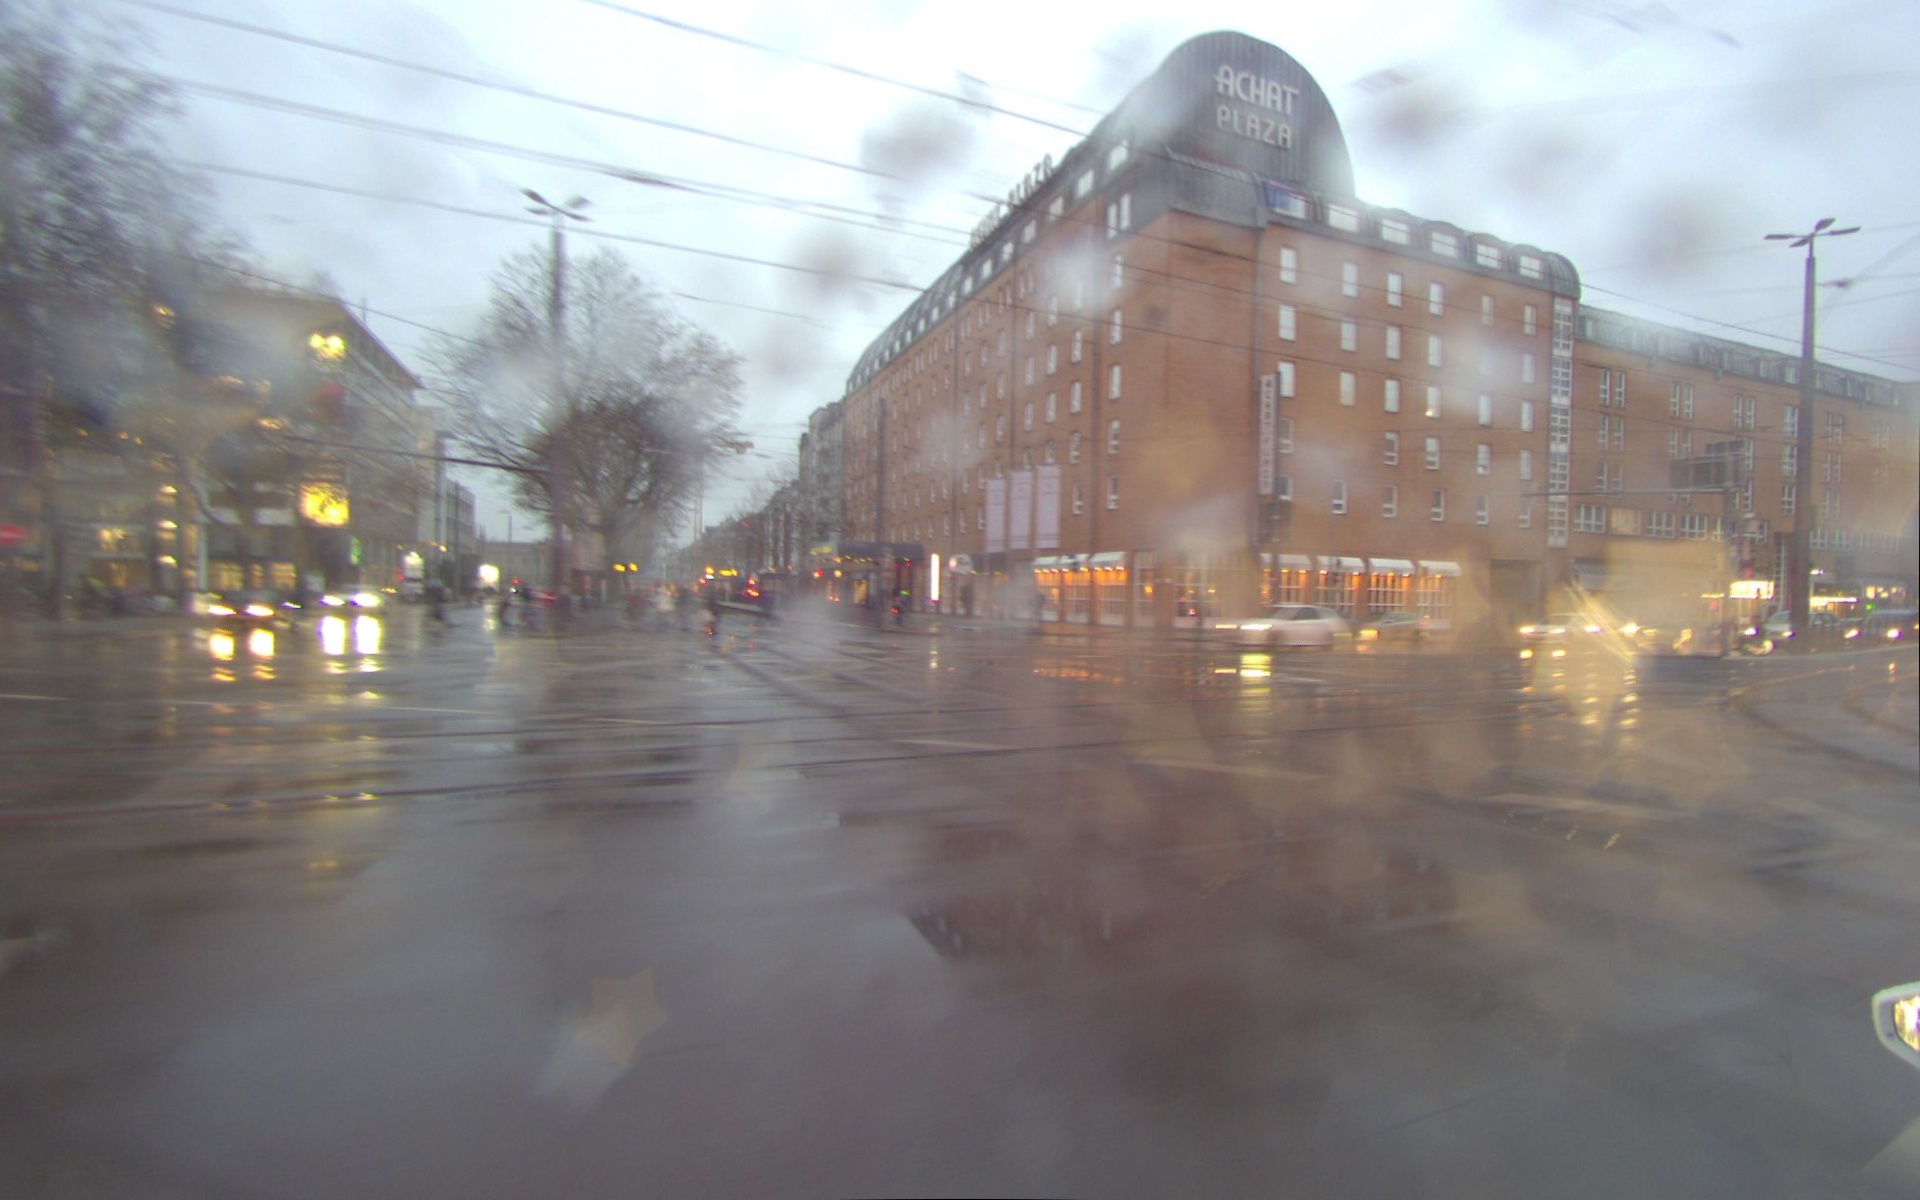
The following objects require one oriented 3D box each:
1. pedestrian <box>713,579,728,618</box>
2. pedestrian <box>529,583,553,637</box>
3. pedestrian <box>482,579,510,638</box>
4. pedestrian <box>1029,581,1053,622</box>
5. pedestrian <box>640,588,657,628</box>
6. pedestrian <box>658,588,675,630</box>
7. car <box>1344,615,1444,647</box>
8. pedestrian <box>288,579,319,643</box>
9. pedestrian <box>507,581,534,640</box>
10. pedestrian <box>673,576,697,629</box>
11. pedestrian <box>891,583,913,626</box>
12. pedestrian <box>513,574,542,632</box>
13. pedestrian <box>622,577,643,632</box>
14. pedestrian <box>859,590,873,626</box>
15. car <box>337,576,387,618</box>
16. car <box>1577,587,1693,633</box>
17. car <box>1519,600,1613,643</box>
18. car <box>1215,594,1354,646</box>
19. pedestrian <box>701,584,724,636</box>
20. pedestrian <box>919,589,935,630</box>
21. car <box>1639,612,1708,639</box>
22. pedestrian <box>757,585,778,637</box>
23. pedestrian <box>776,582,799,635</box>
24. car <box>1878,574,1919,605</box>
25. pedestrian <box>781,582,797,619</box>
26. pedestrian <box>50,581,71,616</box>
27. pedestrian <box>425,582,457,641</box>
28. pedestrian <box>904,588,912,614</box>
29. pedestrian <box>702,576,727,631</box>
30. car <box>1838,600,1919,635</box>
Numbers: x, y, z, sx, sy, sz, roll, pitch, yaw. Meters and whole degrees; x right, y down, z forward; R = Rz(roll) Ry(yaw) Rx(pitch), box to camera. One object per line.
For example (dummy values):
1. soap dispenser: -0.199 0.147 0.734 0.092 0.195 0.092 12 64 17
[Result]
1. pedestrian: -12.795 -0.088 53.665 0.709 2.040 0.743 1 1 -20
2. pedestrian: -15.501 0.360 37.155 0.655 1.985 0.529 0 1 -4
3. pedestrian: -16.322 0.307 35.334 0.746 2.040 0.705 1 1 -15
4. pedestrian: 4.130 0.065 51.349 0.922 2.040 0.756 1 1 40
5. pedestrian: -12.096 0.313 38.990 0.564 1.558 0.519 0 1 -8
6. pedestrian: -11.151 0.337 38.168 0.564 1.558 0.519 0 1 -8
7. car: 19.245 1.350 44.519 4.166 1.339 1.609 0 1 -22
8. pedestrian: -21.444 0.350 32.793 0.753 2.040 0.699 0 1 -41
9. pedestrian: -15.558 0.365 35.580 0.746 2.040 0.705 1 1 -15
10. pedestrian: -10.674 0.085 39.031 0.744 2.040 0.707 1 1 -1
11. pedestrian: -2.627 0.206 45.672 0.774 1.925 0.835 0 1 -20
12. pedestrian: -15.650 0.107 36.337 0.744 2.040 0.707 1 1 -1
13. pedestrian: -12.432 0.167 38.129 0.697 2.040 0.755 1 1 -23
14. pedestrian: -4.049 0.337 43.146 0.564 1.558 0.519 0 1 -8
15. car: -32.209 -0.153 54.171 1.894 2.166 4.051 0 0 -25
16. car: 26.701 0.392 39.721 4.646 1.732 1.821 0 1 -28
17. car: 25.660 0.875 42.508 3.807 1.732 1.676 0 1 -28
18. car: 10.095 0.609 31.177 4.146 1.515 1.662 0 1 -27
19. pedestrian: -9.939 0.399 40.378 0.744 2.040 0.707 1 1 -1
20. pedestrian: -1.278 0.373 38.453 0.564 1.558 0.519 0 1 -8
21. car: 41.081 1.454 57.821 4.177 1.511 1.604 0 1 -29
22. pedestrian: -7.645 0.428 39.930 0.747 2.040 0.705 1 1 -17
23. pedestrian: -6.721 0.343 39.160 0.744 2.040 0.800 1 1 -1
24. car: 66.397 -0.715 70.213 3.949 2.041 1.985 0 2 -28
25. pedestrian: -9.571 0.039 56.165 0.709 2.040 0.743 1 1 -20
26. pedestrian: -43.508 -0.066 48.580 0.553 1.706 0.594 0 1 -21
27. pedestrian: -18.439 0.403 35.710 0.764 2.040 0.706 1 1 31
28. pedestrian: -4.031 0.061 77.784 0.521 2.040 0.553 1 1 -20
29. pedestrian: -9.217 0.115 37.710 0.744 2.040 0.707 1 1 -1
30. car: 39.211 0.745 42.699 3.502 1.372 1.674 1 2 -29
